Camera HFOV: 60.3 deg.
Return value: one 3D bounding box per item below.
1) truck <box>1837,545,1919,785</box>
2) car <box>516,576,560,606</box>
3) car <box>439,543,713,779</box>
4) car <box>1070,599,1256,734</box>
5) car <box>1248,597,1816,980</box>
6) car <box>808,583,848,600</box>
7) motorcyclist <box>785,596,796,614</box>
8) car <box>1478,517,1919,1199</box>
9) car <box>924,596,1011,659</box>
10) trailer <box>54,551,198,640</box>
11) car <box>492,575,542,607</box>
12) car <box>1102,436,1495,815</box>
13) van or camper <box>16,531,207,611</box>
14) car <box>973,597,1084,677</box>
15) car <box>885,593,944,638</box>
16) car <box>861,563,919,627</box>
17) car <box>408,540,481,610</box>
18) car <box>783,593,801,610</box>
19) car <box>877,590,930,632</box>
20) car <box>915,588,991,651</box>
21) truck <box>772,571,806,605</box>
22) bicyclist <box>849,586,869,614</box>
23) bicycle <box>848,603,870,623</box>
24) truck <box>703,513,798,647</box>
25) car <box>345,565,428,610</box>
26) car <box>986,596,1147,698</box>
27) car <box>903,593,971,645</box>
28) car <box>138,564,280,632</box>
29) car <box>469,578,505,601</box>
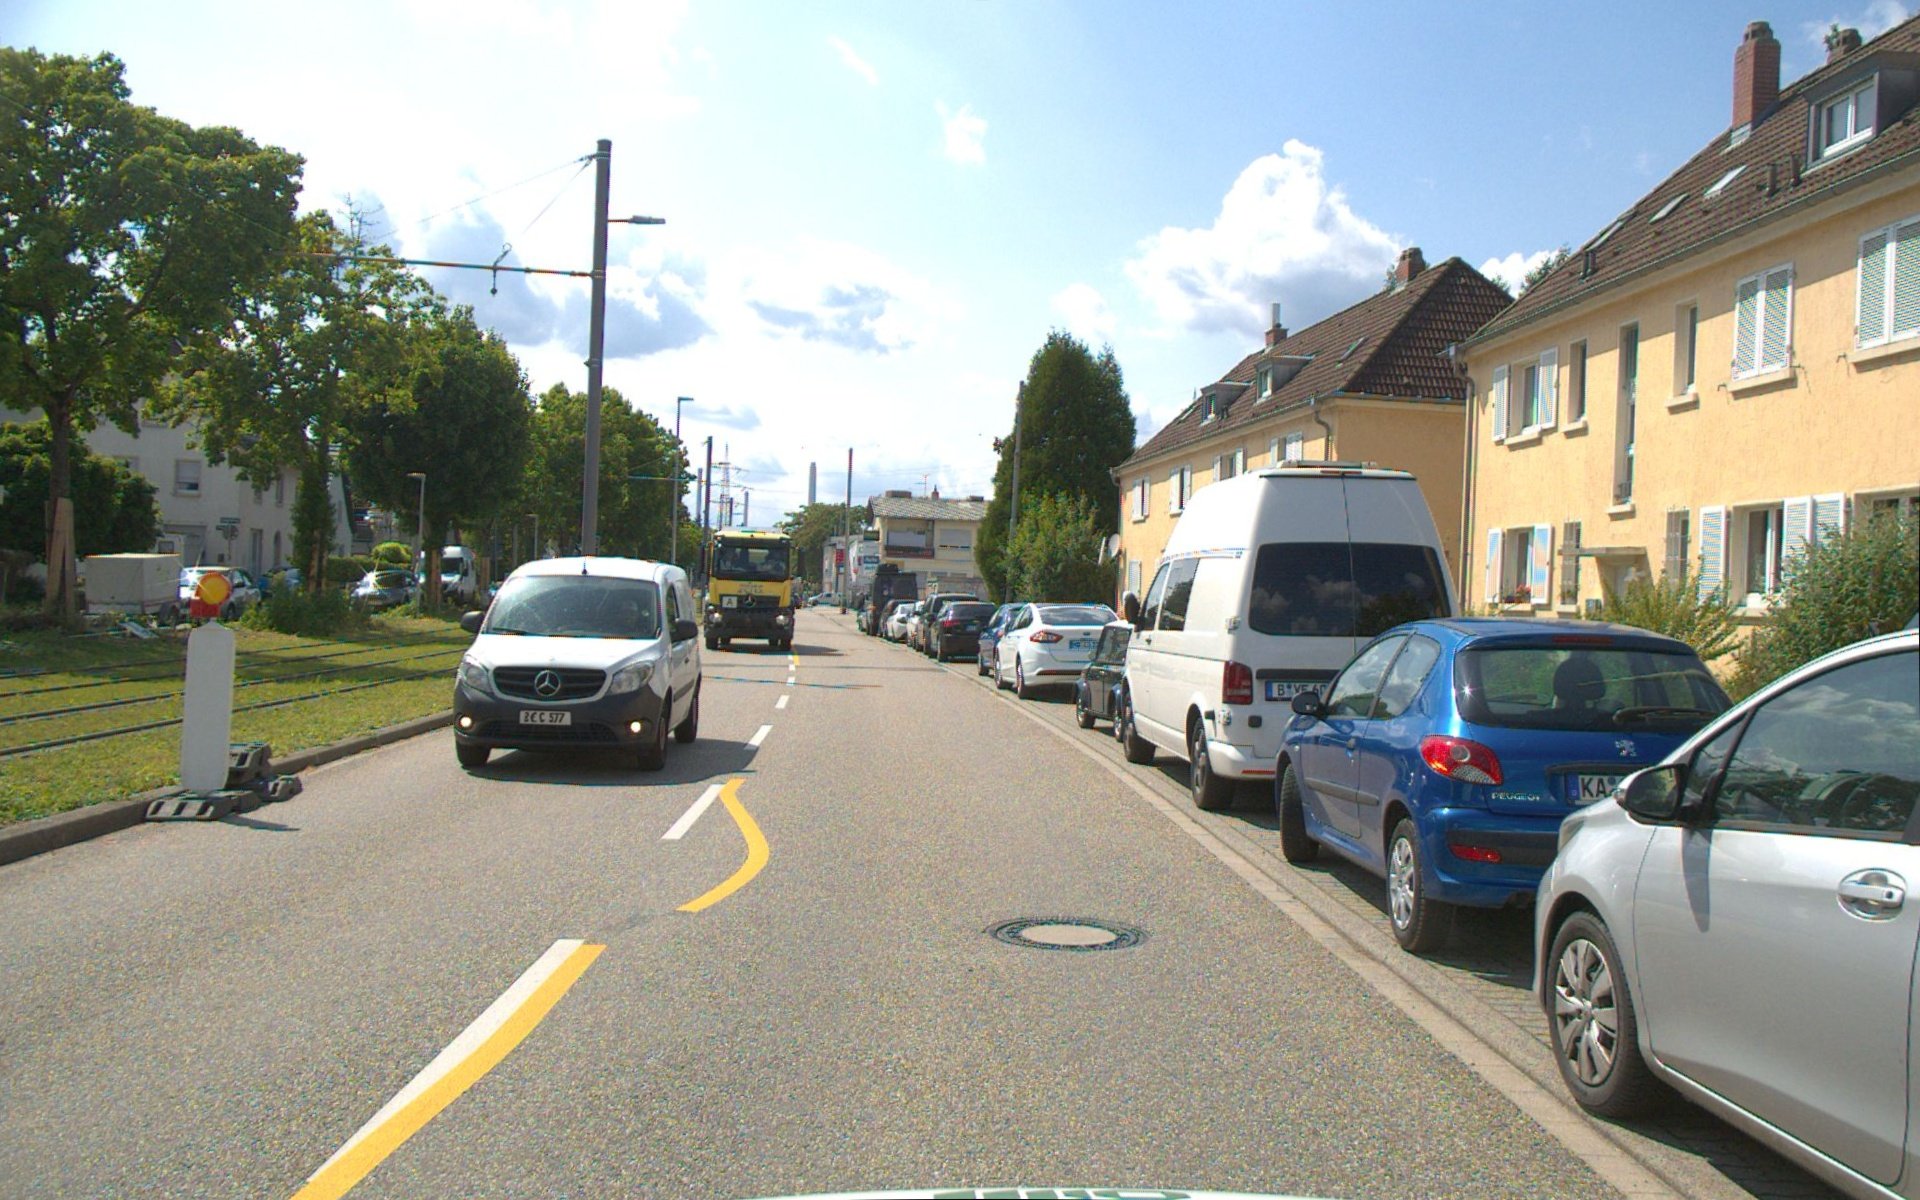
[{"bbox_3d":[7.539,0.481,11.672,1.319,1.718,2.440,2,0,-2],"label":"truck"},{"bbox_3d":[-24.074,-0.499,94.435,1.843,1.580,4.391,2,0,-7],"label":"car"},{"bbox_3d":[-3.342,0.463,15.194,1.700,1.804,4.305,2,0,-4],"label":"car"},{"bbox_3d":[2.217,0.698,18.765,1.315,1.364,3.283,2,-1,-7],"label":"car"},{"bbox_3d":[2.632,0.759,8.523,1.505,1.470,3.736,2,0,-2],"label":"car"},{"bbox_3d":[-15.782,-1.037,198.147,4.559,1.854,1.831,2,0,-12],"label":"car"},{"bbox_3d":[-15.917,0.465,155.272,0.867,1.696,1.107,2,0,-7],"label":"motorcyclist"},{"bbox_3d":[2.738,0.669,3.941,1.603,1.630,4.028,2,0,-2],"label":"car"},{"bbox_3d":[0.130,0.643,40.848,1.730,1.442,3.995,0,0,-6],"label":"car"},{"bbox_3d":[-17.341,-0.100,34.530,1.535,1.707,3.368,2,0,-6],"label":"trailer"},{"bbox_3d":[-22.988,-0.444,85.925,1.843,1.580,4.371,2,0,-7],"label":"car"},{"bbox_3d":[2.525,0.167,13.886,1.891,2.524,5.514,1,0,-3],"label":"car"},{"bbox_3d":[-36.181,-1.235,70.708,6.750,3.180,2.439,2,0,-7],"label":"van or camper"},{"bbox_3d":[1.273,0.668,32.121,1.589,1.442,3.995,0,0,-6],"label":"car"},{"bbox_3d":[-1.602,0.502,57.102,1.730,1.465,3.995,0,0,-6],"label":"car"},{"bbox_3d":[-2.929,-0.208,68.286,1.922,2.522,6.050,0,0,-7],"label":"car"},{"bbox_3d":[-21.615,-1.031,69.598,2.036,2.768,6.986,0,0,-10],"label":"car"},{"bbox_3d":[-16.287,0.108,160.569,1.539,1.524,4.141,2,0,-8],"label":"car"},{"bbox_3d":[-2.164,0.400,62.244,1.730,1.529,3.995,0,0,-6],"label":"car"},{"bbox_3d":[-0.242,0.497,46.053,1.730,1.672,3.995,0,0,-6],"label":"car"},{"bbox_3d":[-18.400,-1.261,177.581,3.161,3.461,11.333,2,0,-8],"label":"truck"},{"bbox_3d":[-5.738,-0.005,93.882,0.976,1.596,1.137,2,0,-9],"label":"bicyclist"},{"bbox_3d":[-5.758,0.749,93.868,0.976,1.067,2.806,2,0,-9],"label":"bicycle"},{"bbox_3d":[-5.968,-0.560,47.393,2.511,3.520,7.139,0,0,-7],"label":"truck"},{"bbox_3d":[-20.282,-0.431,58.655,1.695,1.531,4.563,0,0,-5],"label":"car"},{"bbox_3d":[1.601,0.695,26.610,1.764,1.483,4.758,0,0,-7],"label":"car"},{"bbox_3d":[-0.757,0.554,50.935,1.730,1.502,3.995,0,0,-6],"label":"car"},{"bbox_3d":[-18.004,-0.061,39.887,1.695,1.531,4.563,0,0,-5],"label":"car"},{"bbox_3d":[-35.188,-0.757,123.040,1.843,1.580,4.391,2,0,-7],"label":"car"}]
